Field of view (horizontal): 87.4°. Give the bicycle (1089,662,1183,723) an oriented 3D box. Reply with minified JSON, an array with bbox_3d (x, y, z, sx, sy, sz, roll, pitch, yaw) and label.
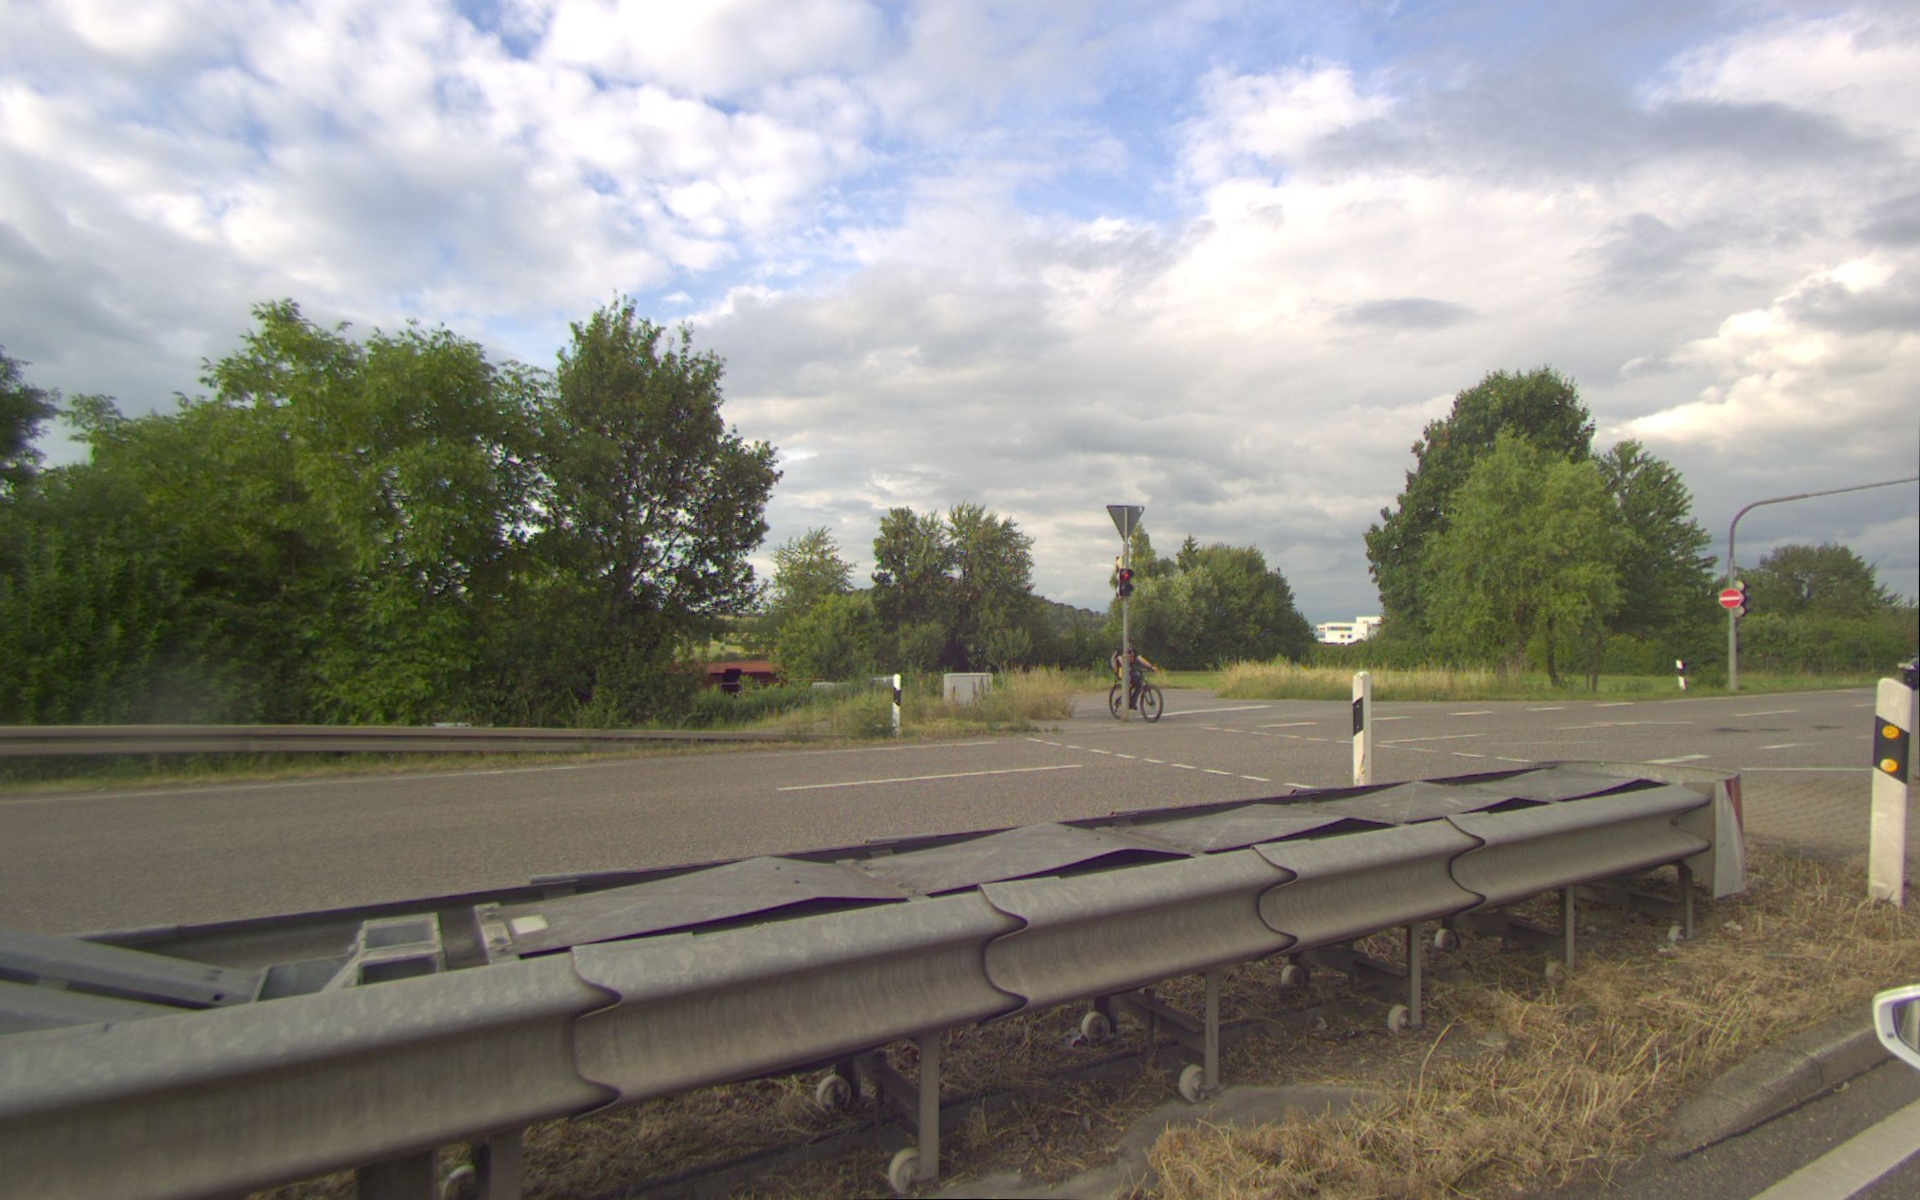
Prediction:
[{"bbox_3d":[3.668,1.909,21.132,0.804,1.152,2.314,1,-2,-24],"label":"bicycle"}]

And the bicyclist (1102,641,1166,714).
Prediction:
[{"bbox_3d":[3.655,1.608,21.170,0.804,1.470,1.219,1,-2,-24],"label":"bicyclist"}]

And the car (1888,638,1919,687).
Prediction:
[{"bbox_3d":[32.500,2.018,32.784,4.881,1.556,1.899,1,-2,-30],"label":"car"}]
